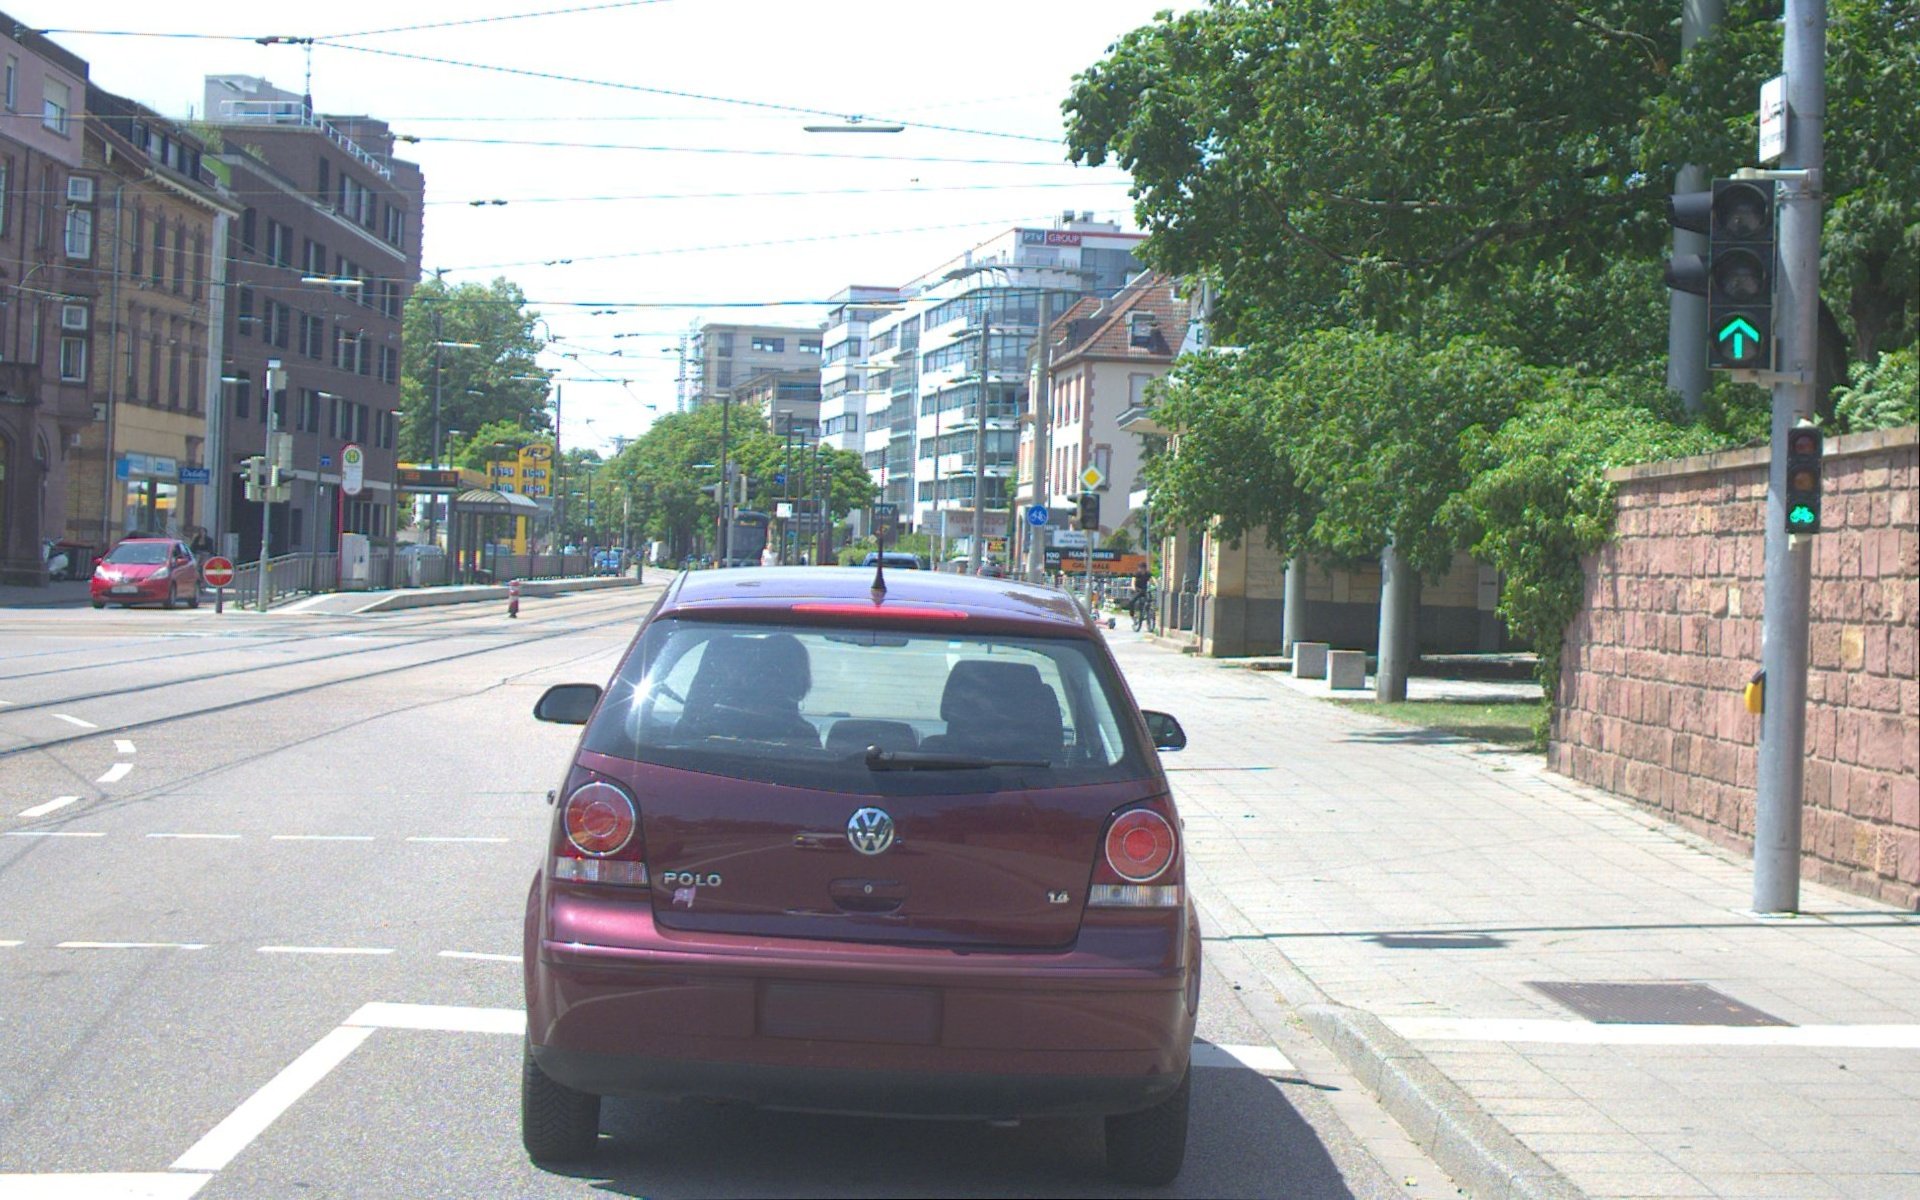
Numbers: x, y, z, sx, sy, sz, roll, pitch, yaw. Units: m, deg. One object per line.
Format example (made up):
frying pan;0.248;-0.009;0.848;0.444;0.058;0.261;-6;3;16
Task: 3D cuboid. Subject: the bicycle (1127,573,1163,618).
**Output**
bicycle;4.279;-0.115;79.671;0.668;0.999;1.864;-2;1;-1

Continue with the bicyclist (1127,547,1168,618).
bicyclist;4.345;-0.418;79.692;0.832;1.612;0.860;-2;1;-1

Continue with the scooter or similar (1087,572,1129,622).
scooter or similar;3.607;-0.078;83.736;0.339;1.174;1.468;2;1;-25

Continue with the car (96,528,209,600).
car;-17.458;-0.788;74.435;1.624;1.478;3.829;2;1;-2

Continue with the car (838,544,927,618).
car;-1.818;-0.469;81.351;1.993;1.619;4.632;2;1;-1

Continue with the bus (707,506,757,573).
bus;-10.744;-2.849;161.726;2.233;2.993;6.595;2;1;-4

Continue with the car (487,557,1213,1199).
car;-0.284;0.641;9.160;1.561;1.448;3.062;2;1;-2

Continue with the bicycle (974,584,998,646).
bicycle;0.516;0.288;68.804;0.375;1.193;1.905;2;1;-2

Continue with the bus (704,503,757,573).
bus;-10.341;-2.790;155.173;2.144;2.993;6.574;2;1;-3

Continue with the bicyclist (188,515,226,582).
bicyclist;-20.281;-1.395;92.588;0.732;1.756;1.135;2;1;-1

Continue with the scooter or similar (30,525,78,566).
scooter or similar;-24.178;-1.443;91.750;0.488;1.078;1.576;2;1;16

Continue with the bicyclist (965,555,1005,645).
bicyclist;0.499;-0.006;68.967;0.727;1.754;0.924;2;1;-1

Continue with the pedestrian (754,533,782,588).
pedestrian;-5.907;-1.208;105.890;0.763;1.669;1.100;2;1;0

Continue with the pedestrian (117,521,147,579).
pedestrian;-22.382;-1.349;92.925;0.614;1.555;0.640;2;1;-1

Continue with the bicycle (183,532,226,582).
bicycle;-20.315;-1.160;92.470;0.677;1.300;2.105;2;1;-1
